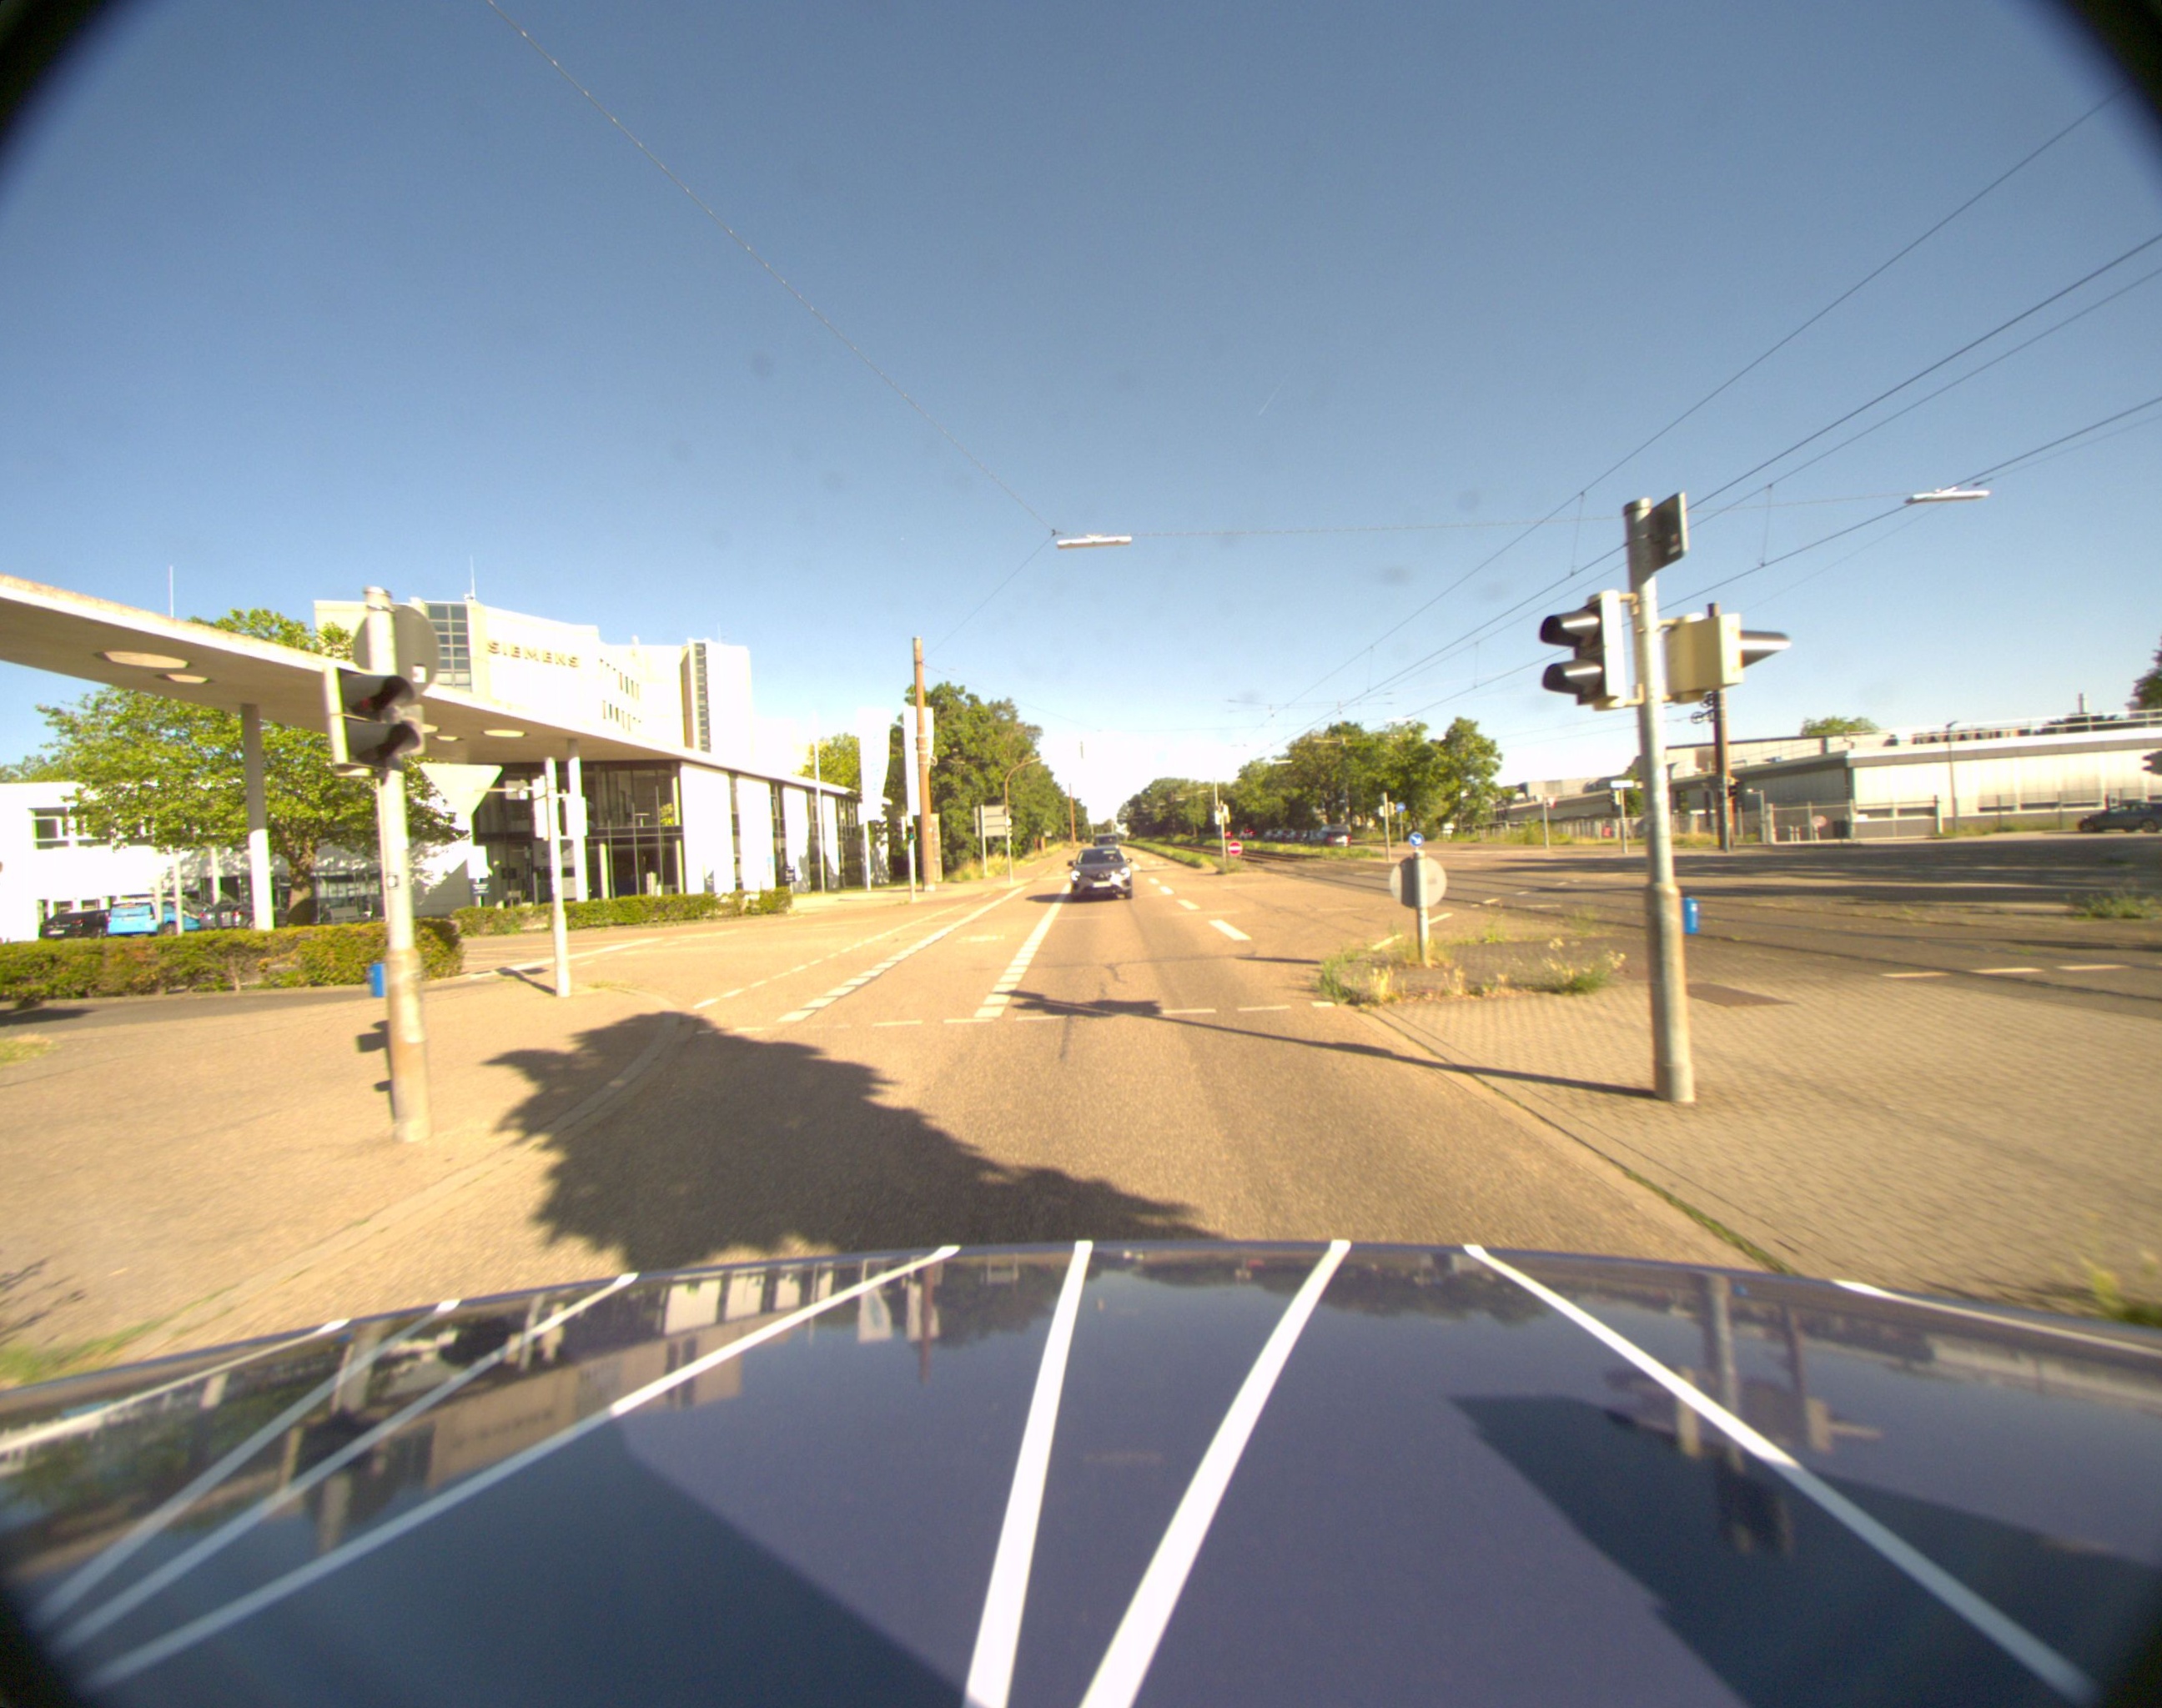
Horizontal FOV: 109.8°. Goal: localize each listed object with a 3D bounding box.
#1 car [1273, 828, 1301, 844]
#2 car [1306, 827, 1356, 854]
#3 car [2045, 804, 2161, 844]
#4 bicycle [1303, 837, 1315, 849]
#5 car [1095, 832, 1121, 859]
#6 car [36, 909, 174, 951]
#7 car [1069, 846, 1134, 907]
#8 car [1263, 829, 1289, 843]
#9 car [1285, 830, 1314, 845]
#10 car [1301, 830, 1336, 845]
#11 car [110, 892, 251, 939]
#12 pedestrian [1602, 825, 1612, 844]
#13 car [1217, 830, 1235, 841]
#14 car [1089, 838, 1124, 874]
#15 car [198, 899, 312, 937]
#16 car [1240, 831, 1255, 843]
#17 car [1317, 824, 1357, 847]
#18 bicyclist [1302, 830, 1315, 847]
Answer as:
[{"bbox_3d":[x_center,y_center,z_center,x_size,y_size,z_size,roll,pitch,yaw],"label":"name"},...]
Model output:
[{"bbox_3d":[23.842,-2.087,88.174,2.130,1.578,4.616,-4,1,2],"label":"car"},{"bbox_3d":[18.153,-0.947,55.369,2.099,1.799,4.792,-1,0,0],"label":"car"},{"bbox_3d":[50.533,-1.478,36.657,2.169,1.739,5.296,-3,1,14],"label":"car"},{"bbox_3d":[21.824,-1.083,72.728,0.698,1.096,1.781,-4,1,3],"label":"bicycle"},{"bbox_3d":[2.342,-0.739,66.542,1.998,2.199,4.786,-3,0,0],"label":"car"},{"bbox_3d":[-45.275,3.487,35.406,1.779,1.436,3.995,-3,1,-14],"label":"car"},{"bbox_3d":[0.594,0.610,23.693,1.796,1.584,4.529,-2,2,0],"label":"car"},{"bbox_3d":[24.259,-2.262,94.745,2.130,1.555,4.560,-4,1,2],"label":"car"},{"bbox_3d":[23.752,-1.815,82.683,1.960,1.418,4.488,-4,1,3],"label":"car"},{"bbox_3d":[23.797,-1.659,76.289,2.130,1.372,4.615,-4,1,1],"label":"car"},{"bbox_3d":[-42.581,2.856,36.124,1.779,1.786,4.719,-3,1,-14],"label":"car"},{"bbox_3d":[37.032,-1.349,53.480,0.442,1.293,0.440,-4,1,-40],"label":"pedestrian"},{"bbox_3d":[24.518,-3.165,128.792,2.320,1.723,4.797,-4,1,4],"label":"car"},{"bbox_3d":[1.657,0.071,48.748,1.998,2.113,4.000,-4,1,2],"label":"car"},{"bbox_3d":[-39.983,3.043,36.934,1.779,1.436,3.995,-3,1,-14],"label":"car"},{"bbox_3d":[24.431,-2.522,111.514,1.858,1.549,4.158,-4,1,9],"label":"car"},{"bbox_3d":[23.282,-1.671,69.345,2.206,1.923,4.685,-4,1,3],"label":"car"},{"bbox_3d":[21.797,-1.485,72.742,0.804,1.584,1.236,-4,1,3],"label":"bicyclist"}]
